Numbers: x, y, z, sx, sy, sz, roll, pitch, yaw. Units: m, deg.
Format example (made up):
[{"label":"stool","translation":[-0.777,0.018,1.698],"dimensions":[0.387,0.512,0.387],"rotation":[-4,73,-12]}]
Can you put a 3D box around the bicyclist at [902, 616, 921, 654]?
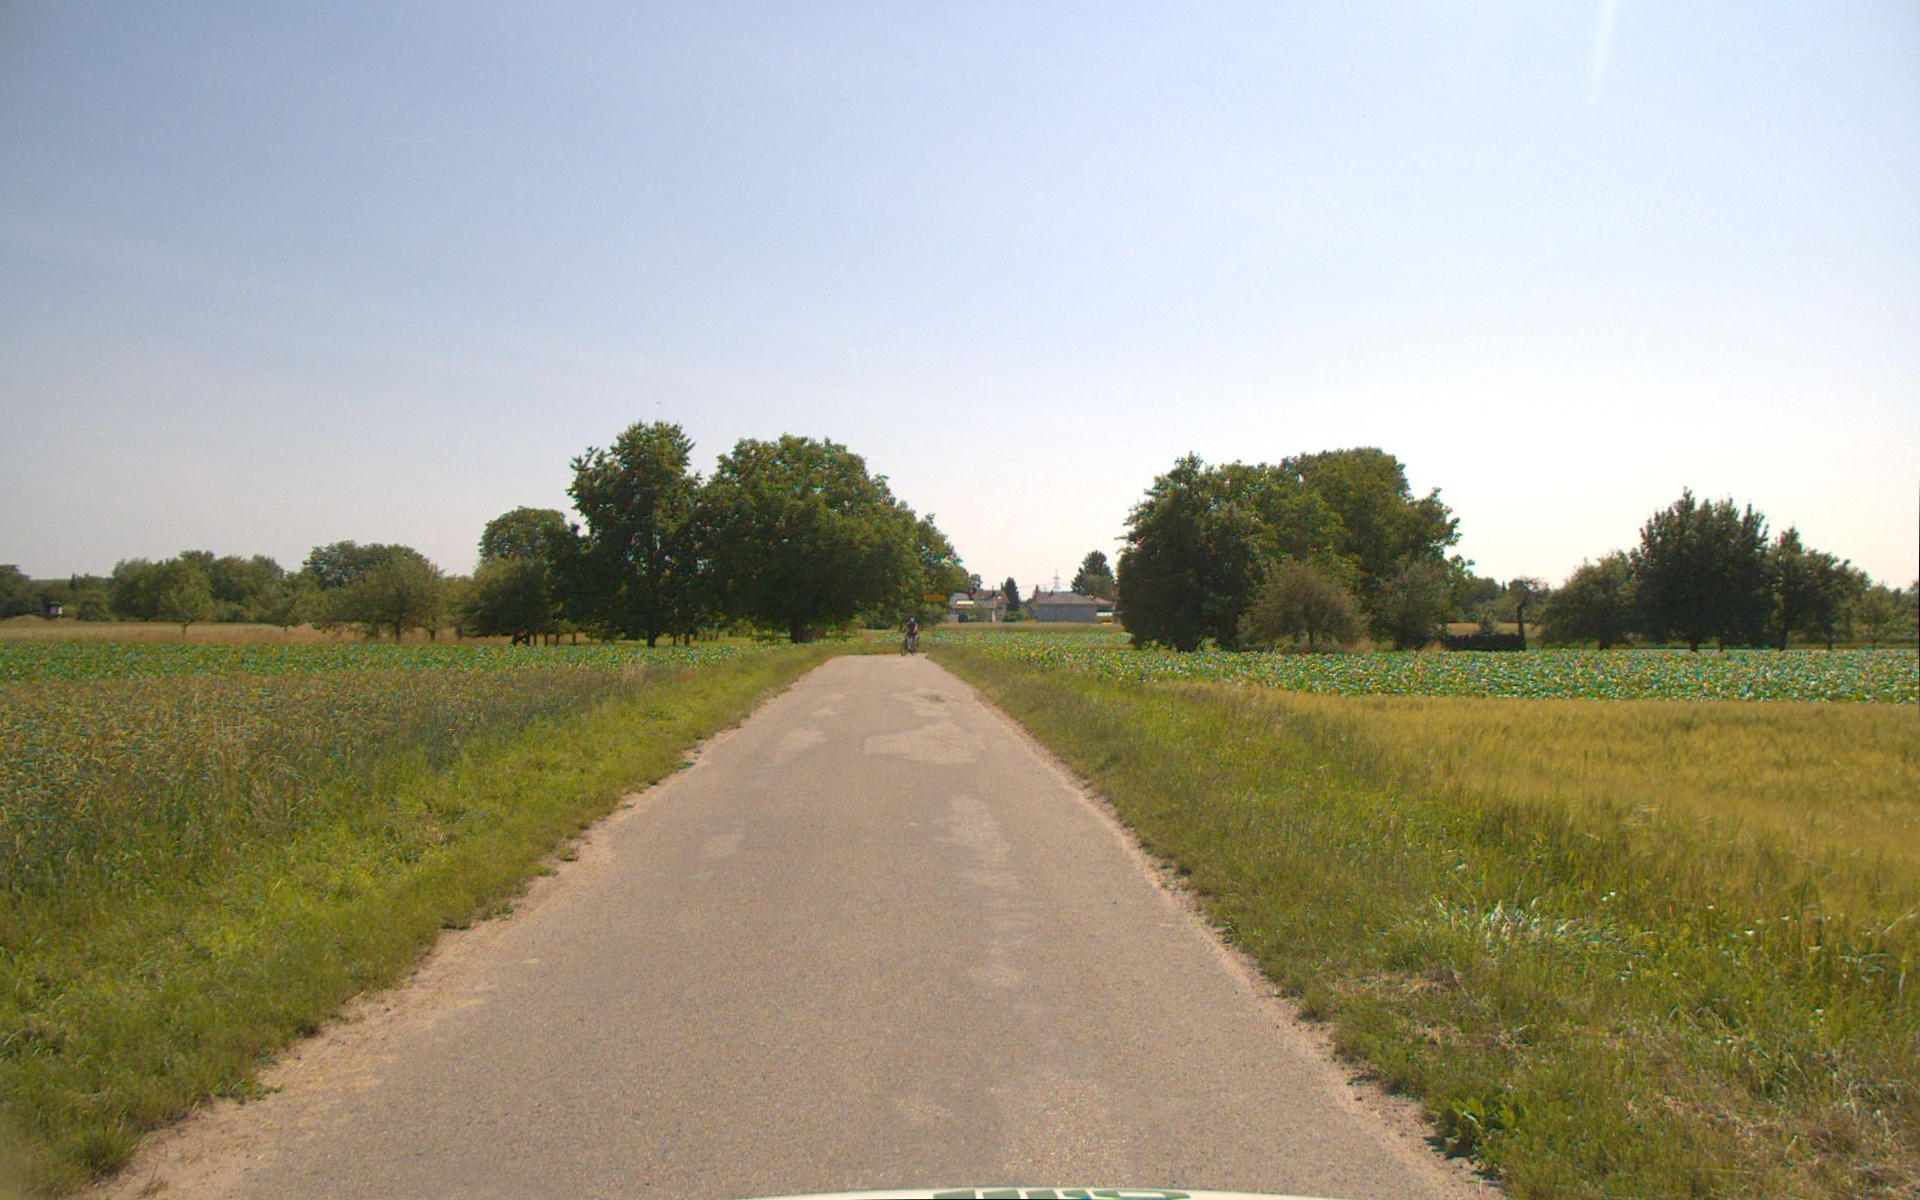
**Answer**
[{"label":"bicyclist","translation":[-2.361,1.680,80.241],"dimensions":[0.734,1.823,0.717],"rotation":[-2,-1,7]}]

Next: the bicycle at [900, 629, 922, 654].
[{"label":"bicycle","translation":[-2.355,2.008,80.231],"dimensions":[0.734,1.147,1.910],"rotation":[-2,-1,7]}]
